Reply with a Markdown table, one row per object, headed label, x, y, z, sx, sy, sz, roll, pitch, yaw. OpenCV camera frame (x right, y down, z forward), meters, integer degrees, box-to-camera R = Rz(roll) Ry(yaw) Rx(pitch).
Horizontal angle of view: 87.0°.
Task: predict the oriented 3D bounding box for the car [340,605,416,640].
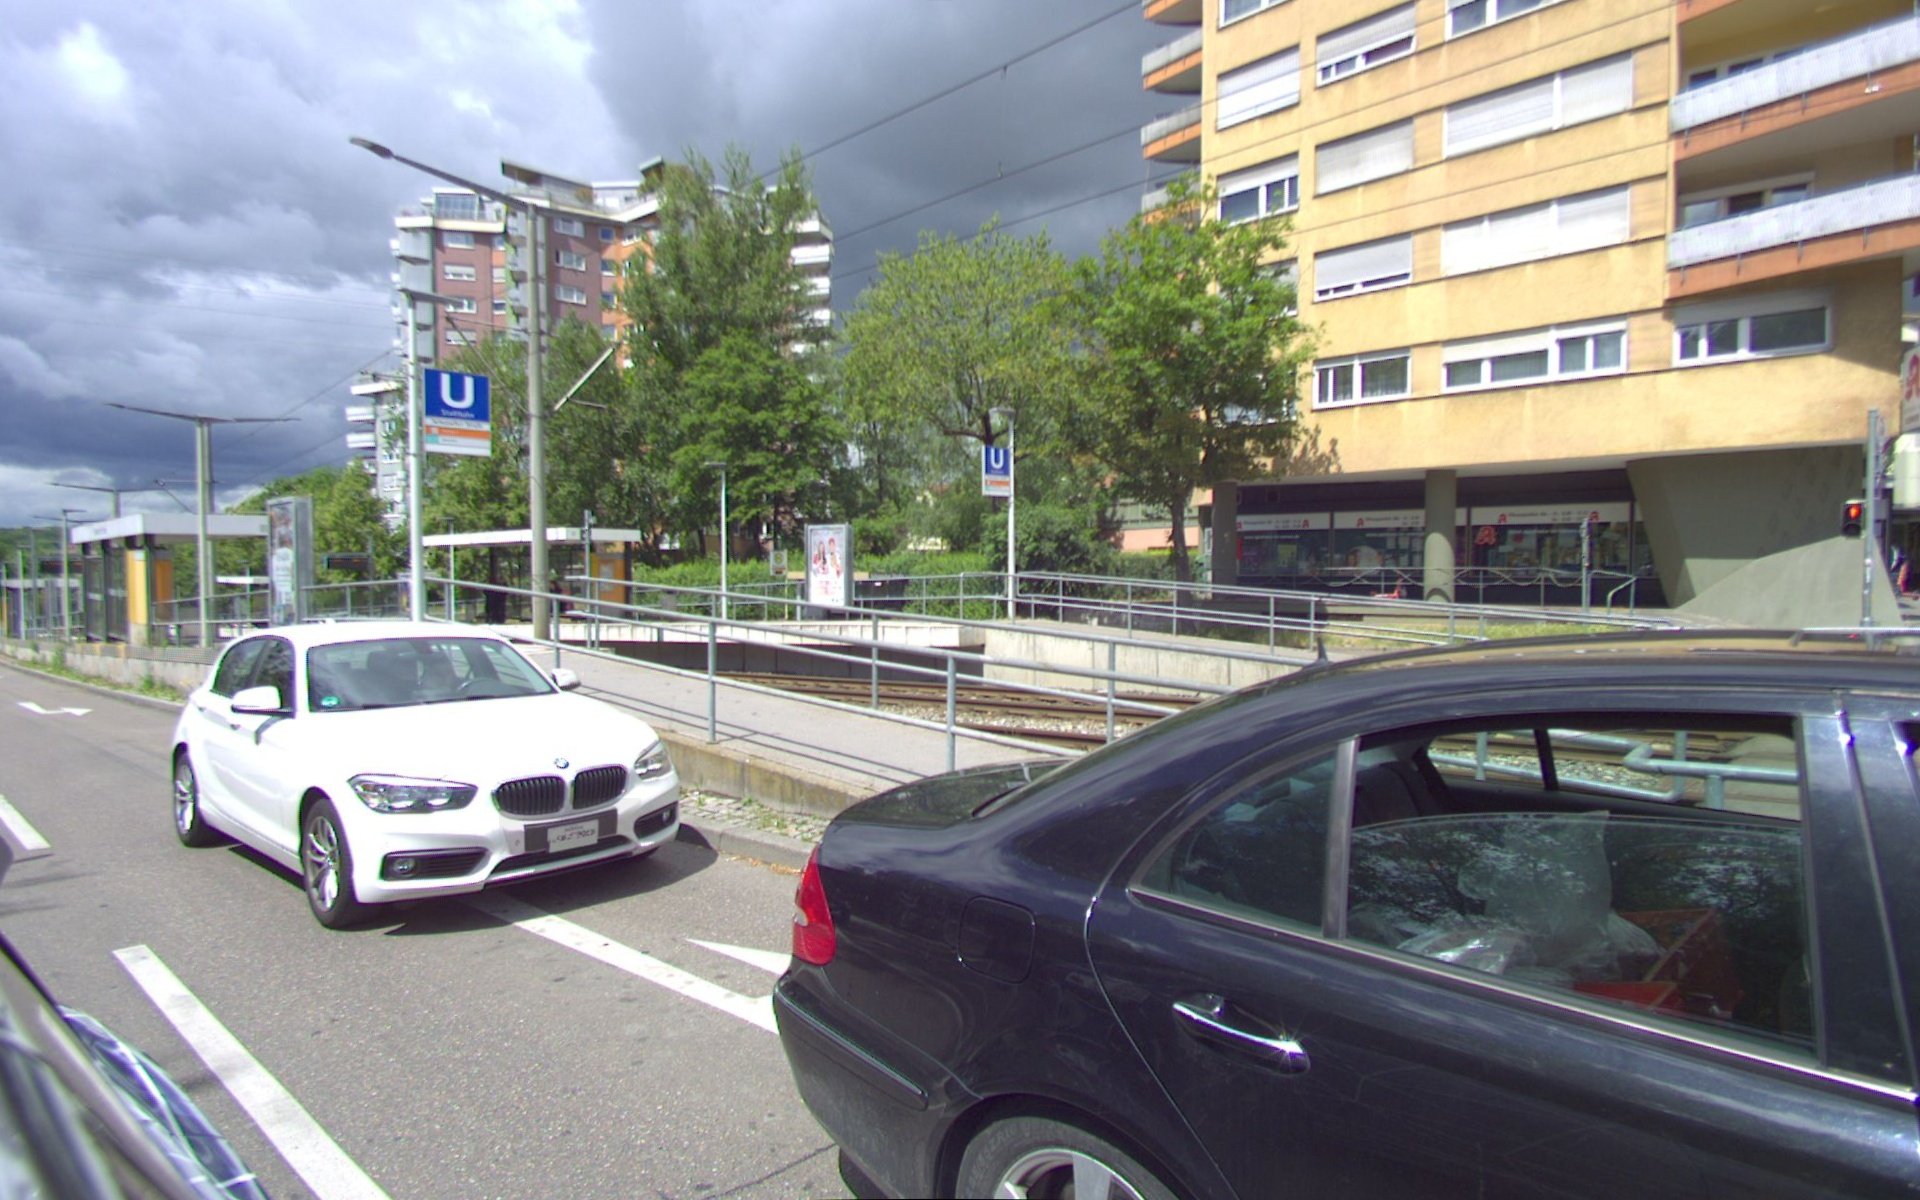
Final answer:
| label | x | y | z | sx | sy | sz | roll | pitch | yaw |
| --- | --- | --- | --- | --- | --- | --- | --- | --- | --- |
| car | -28.620 | 1.118 | 49.723 | 4.459 | 1.647 | 1.972 | -1 | -2 | 42 |

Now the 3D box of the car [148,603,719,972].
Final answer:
| label | x | y | z | sx | sy | sz | roll | pitch | yaw |
| --- | --- | --- | --- | --- | --- | --- | --- | --- | --- |
| car | -3.348 | 0.785 | 6.071 | 3.998 | 1.472 | 1.710 | -1 | 0 | 41 |

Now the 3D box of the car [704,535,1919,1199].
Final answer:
| label | x | y | z | sx | sy | sz | roll | pitch | yaw |
| --- | --- | --- | --- | --- | --- | --- | --- | --- | --- |
| car | 1.697 | 0.661 | 1.408 | 4.542 | 1.472 | 1.710 | -1 | 0 | 41 |
